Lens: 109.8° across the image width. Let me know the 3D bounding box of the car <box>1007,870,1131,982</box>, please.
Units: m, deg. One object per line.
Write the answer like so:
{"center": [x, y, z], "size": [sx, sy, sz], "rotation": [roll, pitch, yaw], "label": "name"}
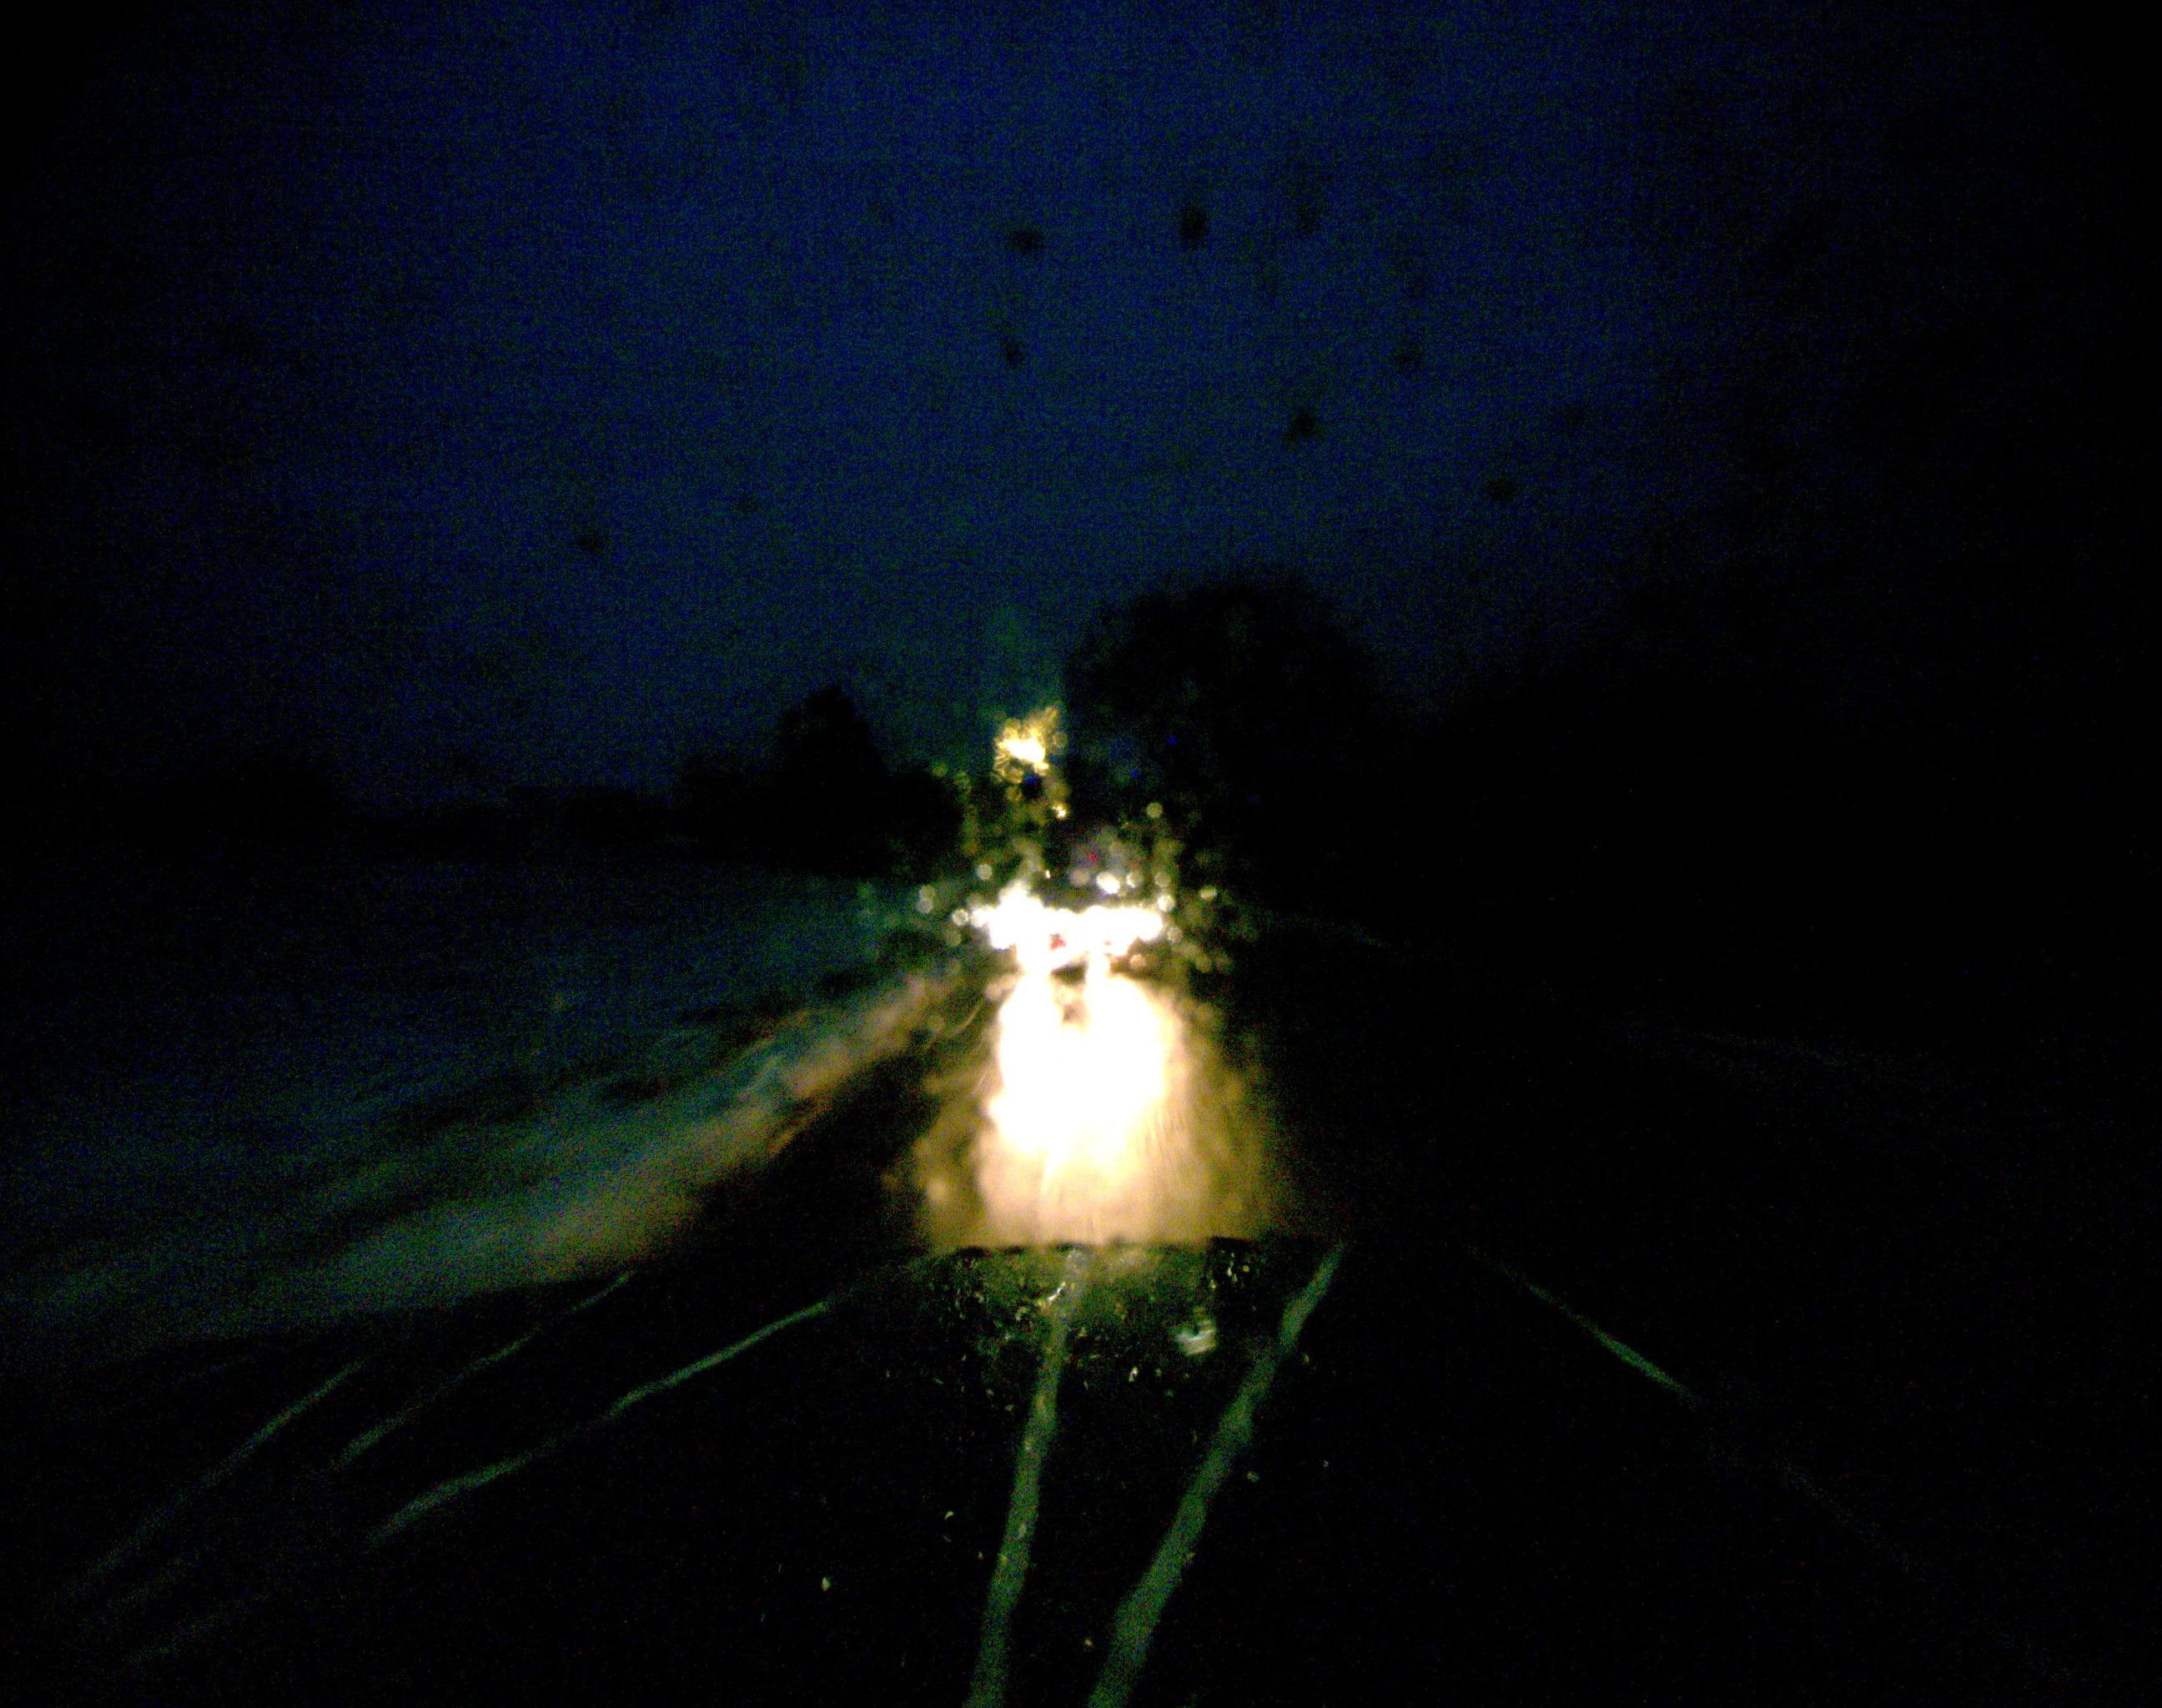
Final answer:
{"center": [-0.140, 1.039, 12.413], "size": [1.649, 1.446, 3.681], "rotation": [-3, -1, 1], "label": "car"}
